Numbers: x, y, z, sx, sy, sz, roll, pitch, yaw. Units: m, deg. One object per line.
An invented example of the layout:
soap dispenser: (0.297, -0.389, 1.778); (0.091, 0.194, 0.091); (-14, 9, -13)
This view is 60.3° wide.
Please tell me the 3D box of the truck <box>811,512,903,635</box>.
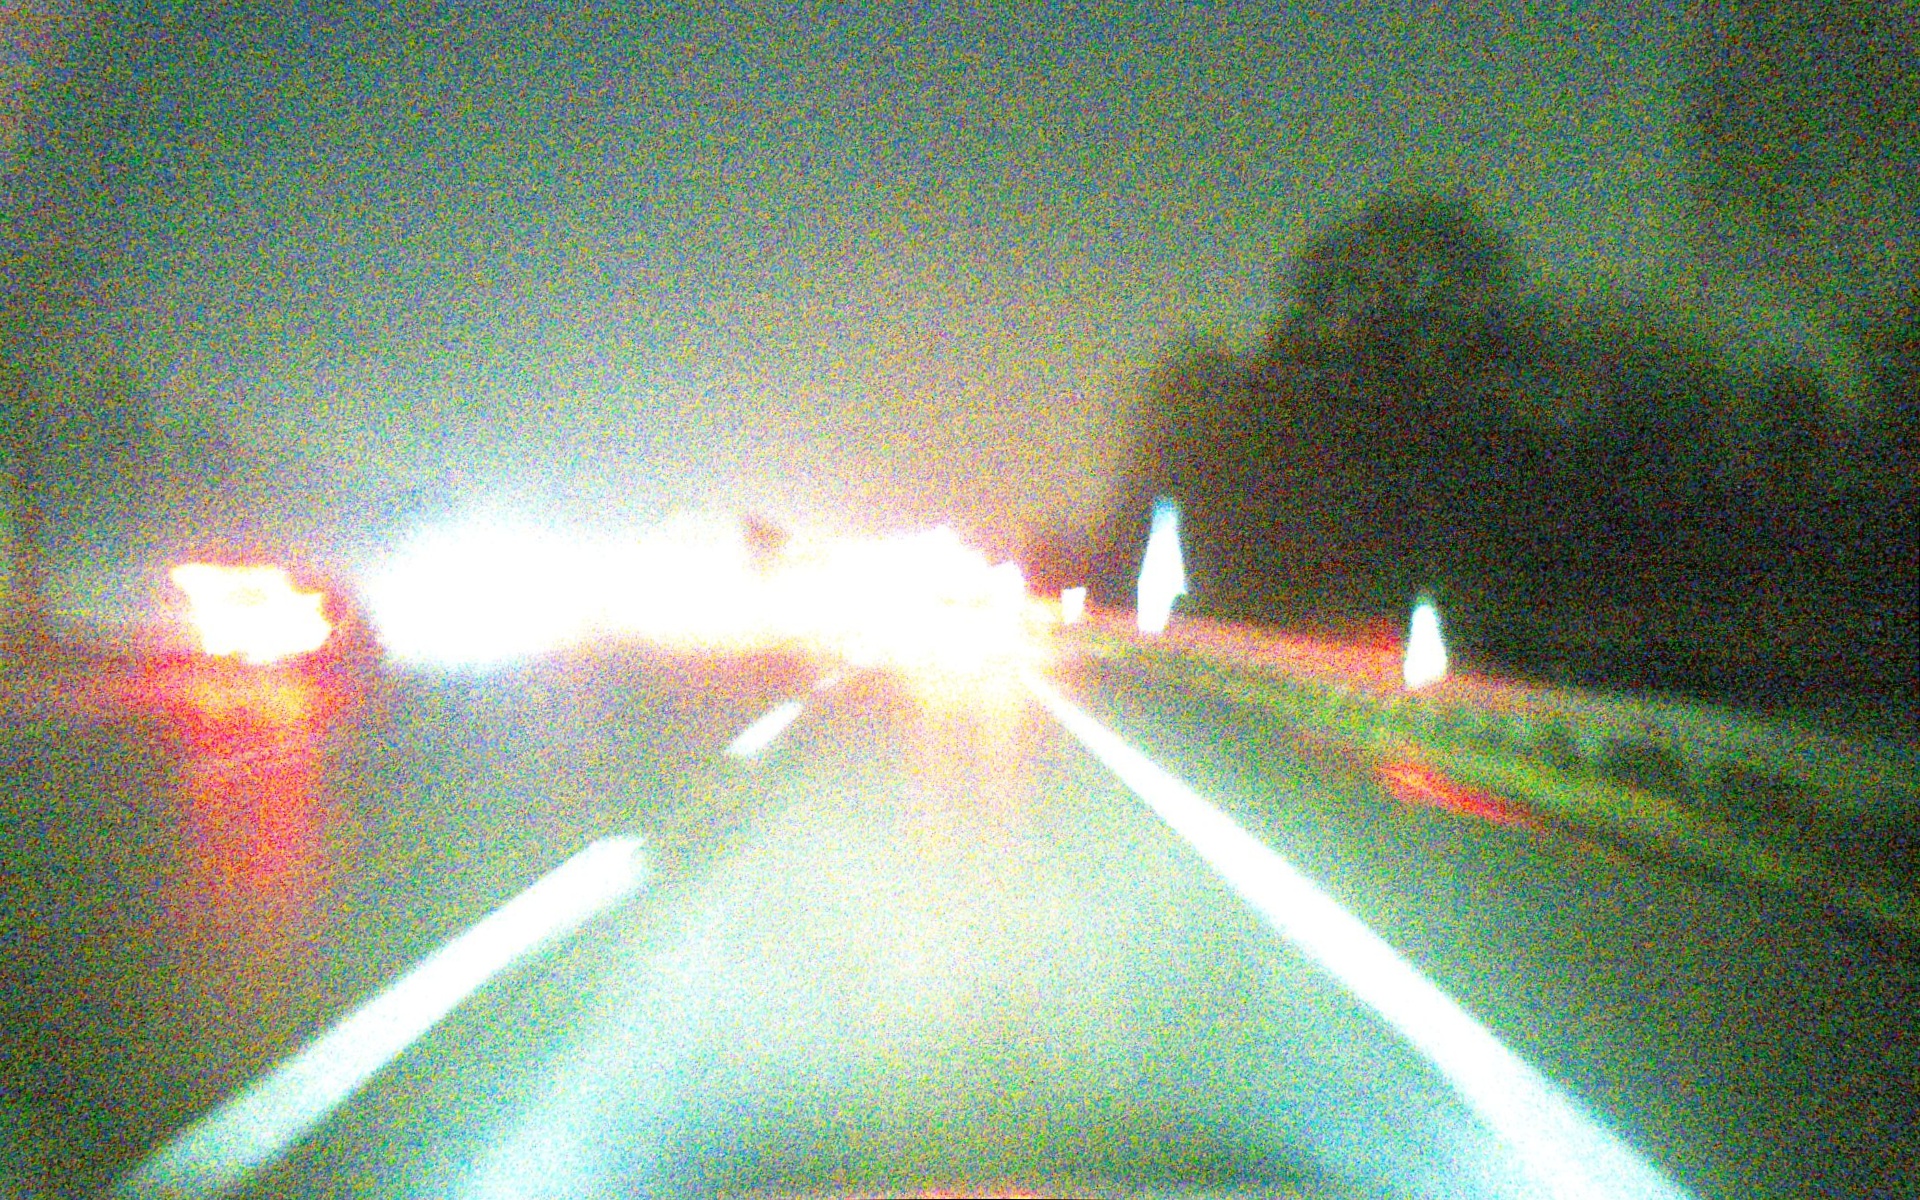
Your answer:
truck: (-5.071, -1.219, 84.011); (4.125, 5.747, 11.463); (1, 0, -2)

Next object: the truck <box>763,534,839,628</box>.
truck: (-10.281, -1.163, 108.321); (4.125, 5.747, 11.463); (1, 0, -2)

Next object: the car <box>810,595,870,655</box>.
car: (-4.327, 0.889, 60.143); (2.084, 2.049, 4.642); (1, 0, -3)

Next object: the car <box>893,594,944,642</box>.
car: (-1.859, 0.782, 73.142); (2.084, 2.049, 4.642); (1, 0, -3)

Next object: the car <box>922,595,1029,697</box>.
car: (0.252, 0.865, 32.639); (1.953, 1.839, 3.999); (1, 0, -1)

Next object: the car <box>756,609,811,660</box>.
car: (-6.782, 1.303, 63.903); (1.954, 1.839, 3.996); (1, 0, -4)

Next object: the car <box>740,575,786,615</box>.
car: (-9.522, -0.242, 80.189); (1.954, 1.839, 3.996); (1, 0, -4)

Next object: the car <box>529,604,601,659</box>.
car: (-12.568, 0.976, 52.856); (1.661, 1.679, 3.836); (1, 0, -5)

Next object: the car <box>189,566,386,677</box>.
car: (-10.719, 0.338, 26.674); (1.956, 1.624, 3.993); (1, 0, -8)

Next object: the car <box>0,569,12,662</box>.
car: (-20.059, 0.278, 30.935); (1.842, 1.875, 5.058); (1, 0, -2)

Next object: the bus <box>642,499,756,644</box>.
bus: (-9.016, -0.889, 58.392); (3.036, 4.587, 10.902); (1, 0, -4)
